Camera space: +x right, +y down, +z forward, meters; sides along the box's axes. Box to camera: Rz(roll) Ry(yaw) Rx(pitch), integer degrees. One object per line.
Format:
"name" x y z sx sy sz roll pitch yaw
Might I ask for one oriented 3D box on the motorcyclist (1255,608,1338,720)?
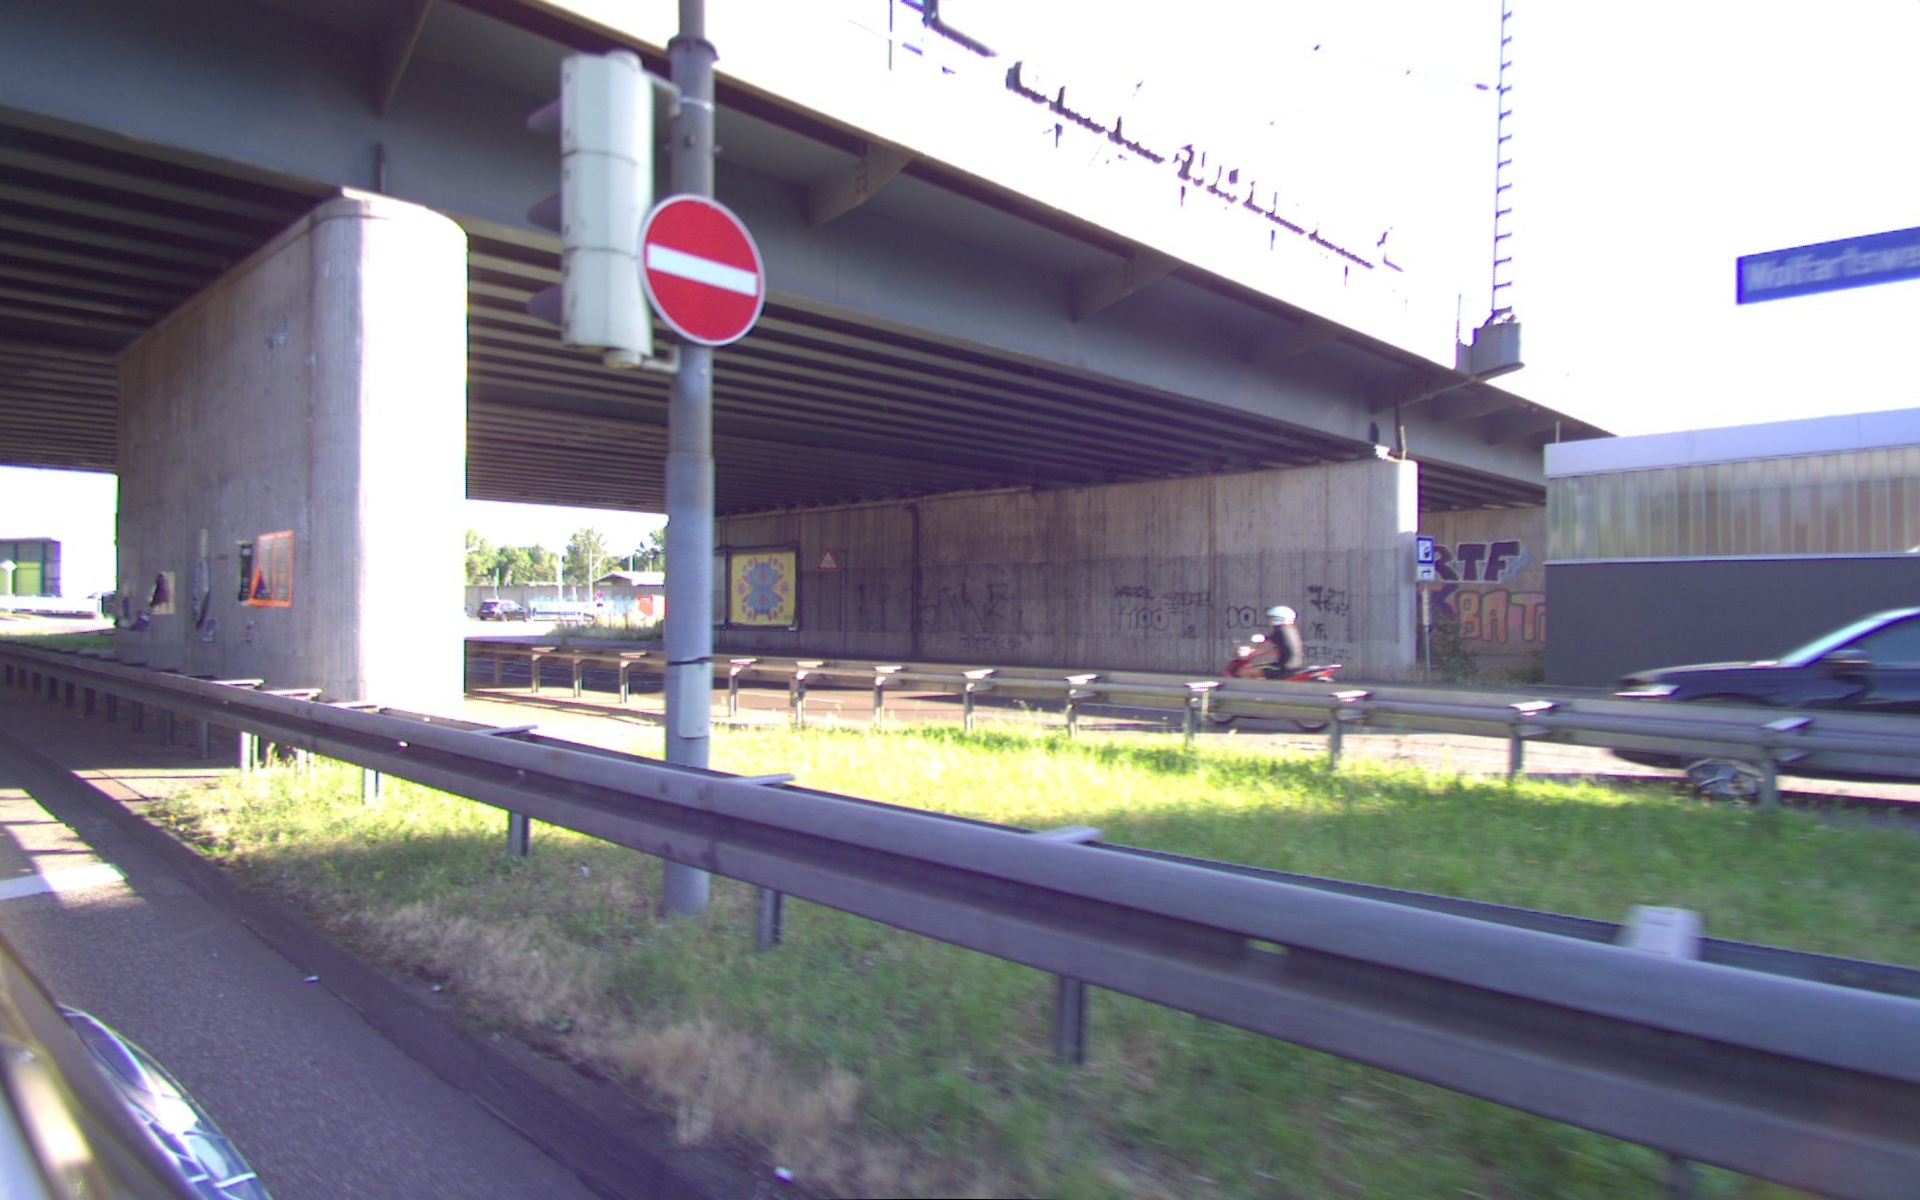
"motorcyclist" 4.568 0.842 13.743 0.868 1.434 0.673 0 1 44

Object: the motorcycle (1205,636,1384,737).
"motorcycle" 4.488 1.124 13.720 0.673 1.165 2.240 -1 1 -45

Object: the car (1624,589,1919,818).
"car" 8.176 0.840 8.016 4.678 1.709 1.973 0 -3 41
